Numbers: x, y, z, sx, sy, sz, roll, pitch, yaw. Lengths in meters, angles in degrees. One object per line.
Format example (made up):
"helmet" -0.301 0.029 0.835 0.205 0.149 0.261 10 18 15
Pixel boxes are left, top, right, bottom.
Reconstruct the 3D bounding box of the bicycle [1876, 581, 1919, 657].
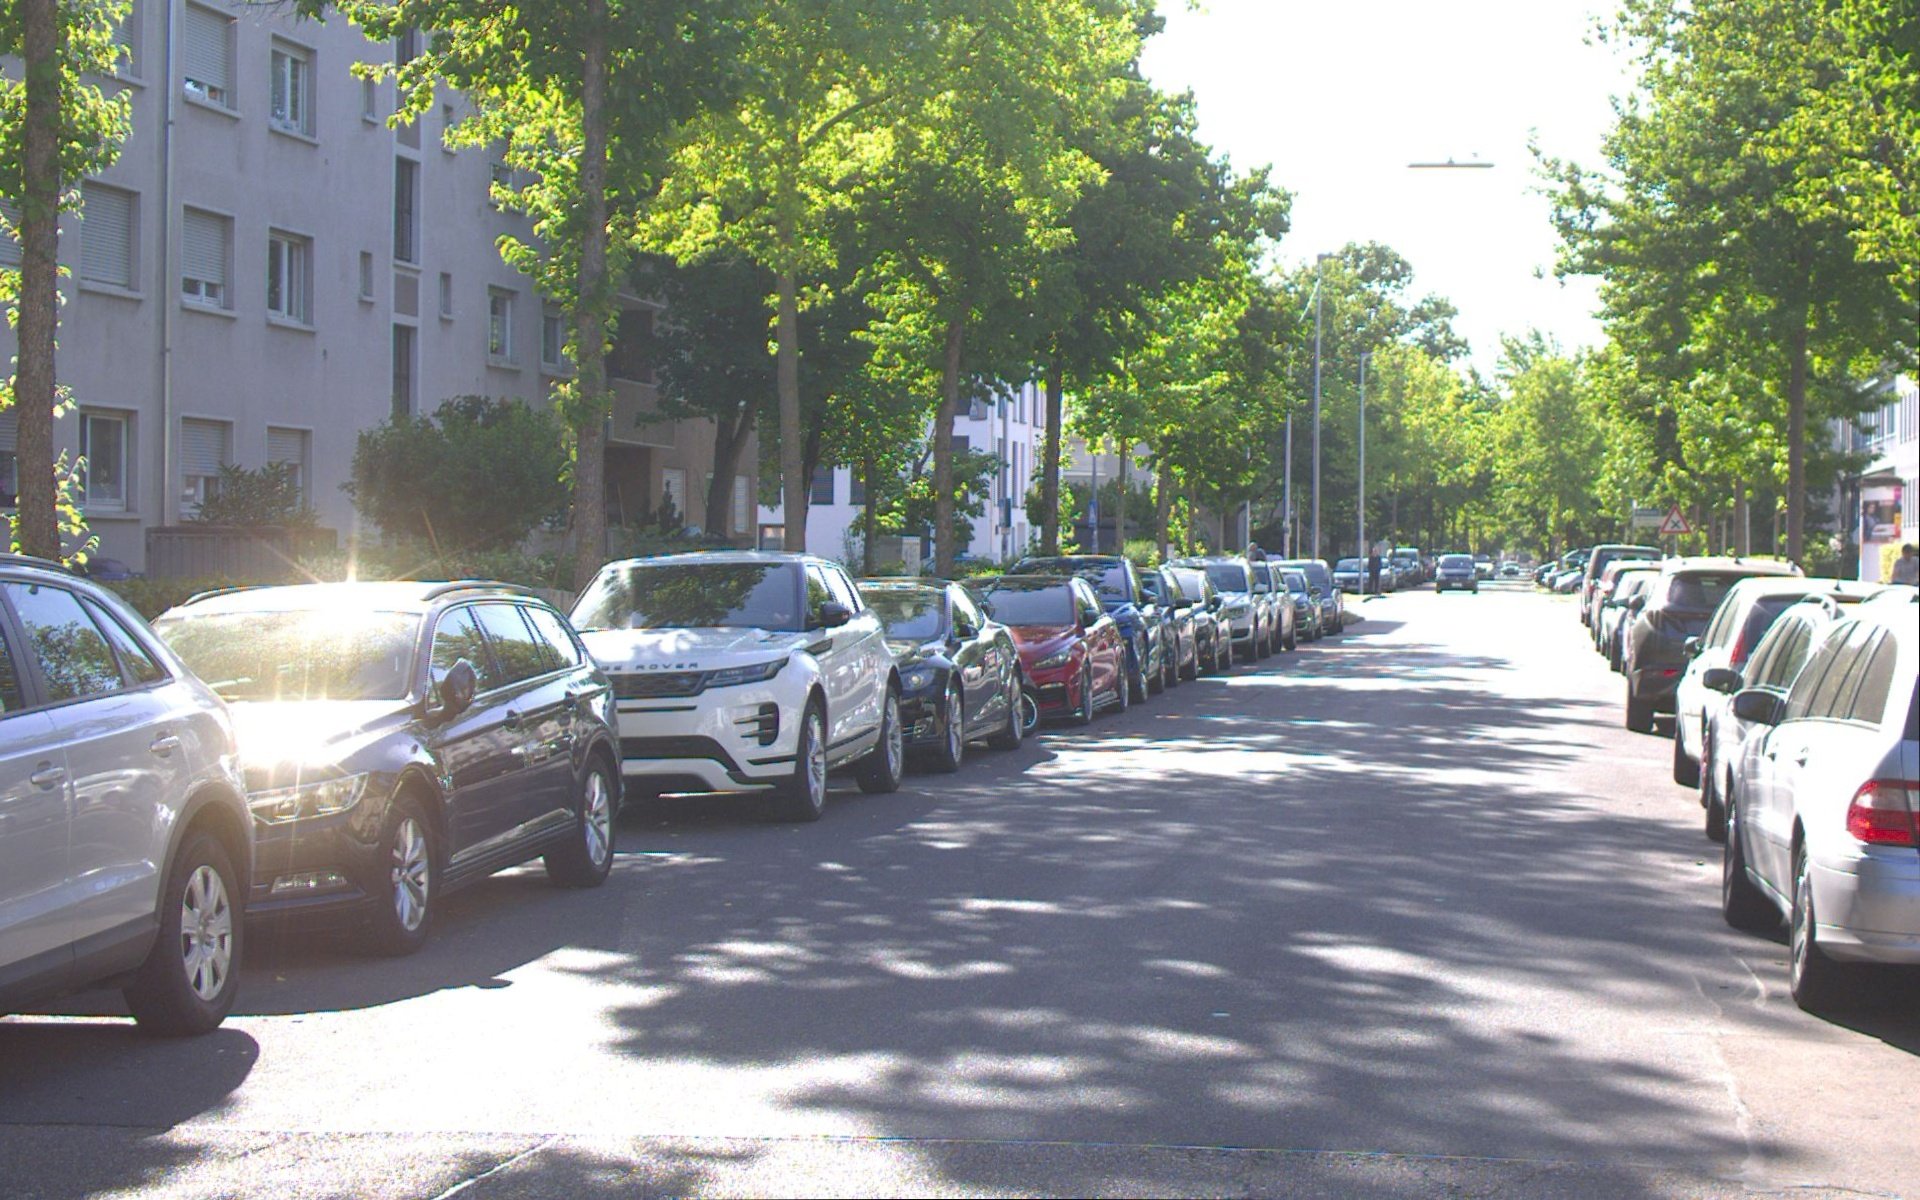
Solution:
"bicycle" 14.789 0.283 53.491 0.684 1.149 2.402 0 1 7

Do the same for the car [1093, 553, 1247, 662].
"car" 2.994 0.080 48.362 1.762 1.439 3.907 -1 0 9

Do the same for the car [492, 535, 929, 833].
"car" -1.439 0.452 21.592 1.729 1.612 4.365 -3 0 9

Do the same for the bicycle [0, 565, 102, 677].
"bicycle" -9.897 0.213 35.966 0.513 1.149 1.951 2 1 33

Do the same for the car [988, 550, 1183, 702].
"car" 1.478 0.252 38.787 1.789 1.561 4.464 -2 0 7

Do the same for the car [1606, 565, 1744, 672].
"car" 10.539 0.244 50.875 1.789 1.448 3.780 2 1 9

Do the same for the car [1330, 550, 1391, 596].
"car" 14.871 -1.025 127.522 1.994 1.665 3.998 1 1 10

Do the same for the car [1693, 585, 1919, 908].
"car" 4.939 0.685 18.207 1.711 1.406 4.860 2 1 8

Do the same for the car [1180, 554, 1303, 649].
"car" 4.891 0.003 59.332 1.711 1.539 3.928 -1 0 10

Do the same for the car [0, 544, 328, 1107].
"car" -3.562 0.600 10.041 2.064 1.519 4.721 1 1 7

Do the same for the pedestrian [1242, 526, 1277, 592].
"pedestrian" 9.236 -1.273 105.874 0.860 2.007 0.980 1 1 18

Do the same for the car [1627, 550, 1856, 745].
"car" 7.493 0.383 33.292 1.927 1.646 5.092 3 1 11

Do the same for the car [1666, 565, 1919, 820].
"car" 5.893 0.572 23.850 1.655 1.527 3.968 3 1 8

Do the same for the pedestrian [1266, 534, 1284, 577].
"pedestrian" 14.047 -1.985 153.522 0.762 1.894 0.818 0 1 4

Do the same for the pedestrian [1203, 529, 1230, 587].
"pedestrian" 8.894 -1.452 119.184 0.859 2.007 0.981 0 1 8

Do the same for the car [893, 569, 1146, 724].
"car" 0.653 0.412 33.566 1.780 1.374 4.260 -1 0 10

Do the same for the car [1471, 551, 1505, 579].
"car" 30.442 -2.015 198.044 1.895 1.555 3.999 0 1 9

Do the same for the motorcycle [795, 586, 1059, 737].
"motorcycle" -0.287 0.537 30.496 2.285 1.266 0.808 -1 1 0

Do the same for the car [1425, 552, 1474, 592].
"car" 19.955 -1.165 140.145 1.783 1.603 3.999 0 1 6

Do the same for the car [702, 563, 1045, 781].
"car" -0.570 0.498 26.862 1.729 1.472 4.617 -3 0 10

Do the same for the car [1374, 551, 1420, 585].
"car" 20.869 -1.555 164.095 1.994 1.579 3.998 1 1 10

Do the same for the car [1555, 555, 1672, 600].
"car" 23.457 -0.818 123.463 3.988 1.581 1.726 0 1 6

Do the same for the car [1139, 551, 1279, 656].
"car" 3.941 0.024 53.919 1.812 1.590 4.231 0 1 9

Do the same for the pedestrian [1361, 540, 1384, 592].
"pedestrian" 14.939 -1.229 124.628 0.715 1.894 0.837 0 1 0

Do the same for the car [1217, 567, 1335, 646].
"car" 6.282 0.104 67.931 1.994 1.448 4.261 -2 0 9

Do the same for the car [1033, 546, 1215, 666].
"car" 2.138 0.050 43.695 1.830 1.448 4.121 0 1 9

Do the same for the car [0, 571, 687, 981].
"car" -2.631 0.644 15.141 1.729 1.442 4.819 -2 1 9

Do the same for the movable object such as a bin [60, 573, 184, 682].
"movable object such as a bin" -8.057 0.259 33.083 0.883 1.030 0.843 0 1 12

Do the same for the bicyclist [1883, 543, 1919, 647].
"bicyclist" 14.801 -0.080 53.532 0.677 1.604 0.921 0 1 7

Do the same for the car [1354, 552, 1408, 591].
"car" 17.465 -1.207 142.582 1.994 1.579 3.998 1 1 10

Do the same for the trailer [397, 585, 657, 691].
"trailer" -4.578 0.375 36.772 1.790 1.030 3.279 1 1 12

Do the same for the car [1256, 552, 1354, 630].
"car" 7.443 -0.207 73.886 1.840 1.589 4.261 -1 1 9

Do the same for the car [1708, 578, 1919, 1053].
"car" 4.021 0.703 13.304 1.822 1.464 4.908 2 1 8

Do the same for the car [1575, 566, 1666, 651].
"car" 15.856 0.173 82.701 1.971 1.942 4.983 1 1 9
